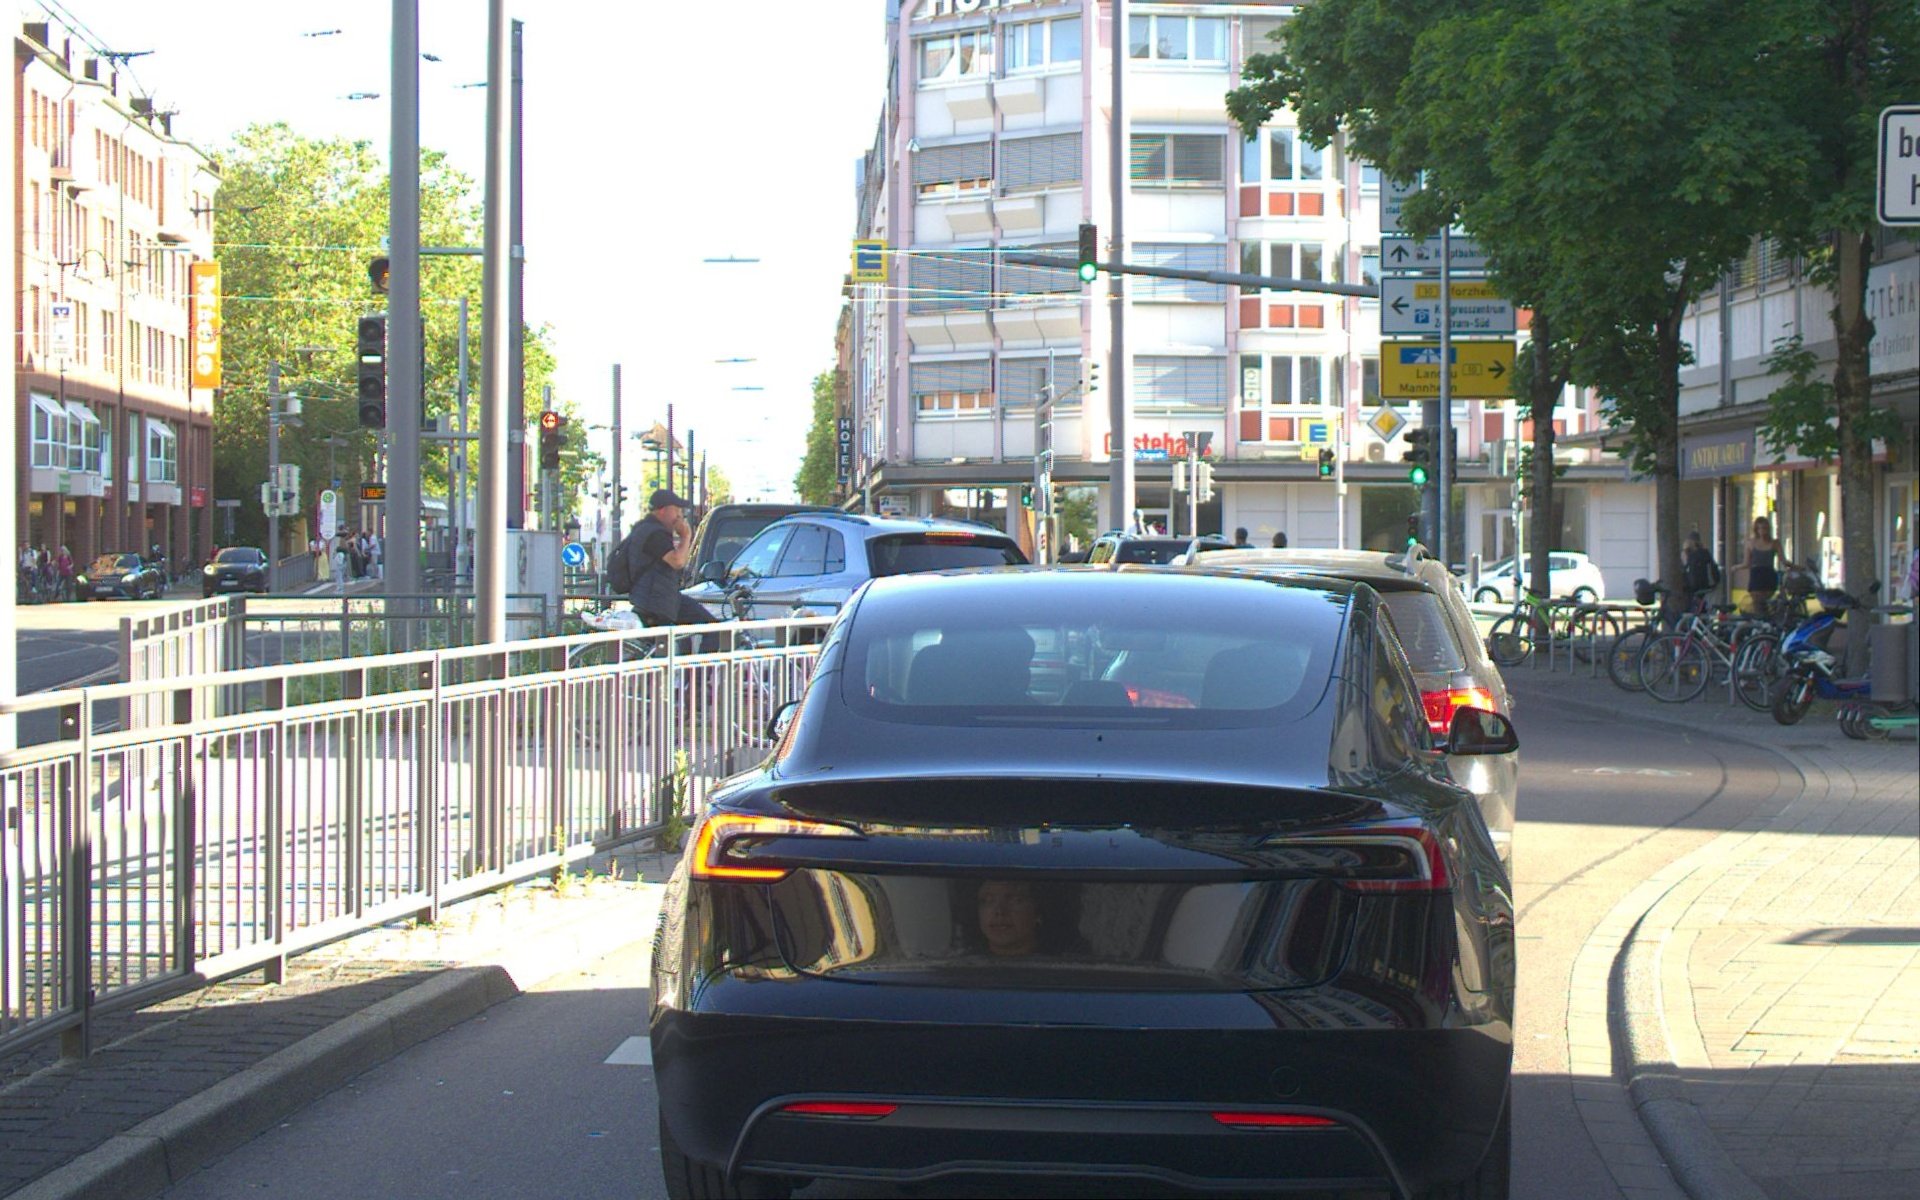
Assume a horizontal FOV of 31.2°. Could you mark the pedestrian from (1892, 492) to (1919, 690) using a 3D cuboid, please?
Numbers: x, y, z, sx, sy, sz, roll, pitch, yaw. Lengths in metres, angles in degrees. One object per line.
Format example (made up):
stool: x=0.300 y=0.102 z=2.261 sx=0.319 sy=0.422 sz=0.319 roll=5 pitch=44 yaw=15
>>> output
pedestrian: x=9.954 y=-0.094 z=35.156 sx=0.662 sy=2.007 sz=0.579 roll=1 pitch=0 yaw=2

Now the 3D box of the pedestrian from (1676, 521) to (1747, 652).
pedestrian: x=9.613 y=-0.172 z=44.003 sx=0.699 sy=1.656 sz=0.777 roll=1 pitch=0 yaw=-1

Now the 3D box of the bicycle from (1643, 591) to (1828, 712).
bicycle: x=7.185 y=0.477 z=31.869 sx=1.649 sy=1.095 sz=0.350 roll=1 pitch=0 yaw=-10

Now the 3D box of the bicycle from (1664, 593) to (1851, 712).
bicycle: x=7.290 y=0.479 z=31.445 sx=1.649 sy=1.057 sz=0.350 roll=1 pitch=0 yaw=-10

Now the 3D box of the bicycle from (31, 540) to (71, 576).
bicycle: x=-27.298 y=-1.254 z=103.251 sx=0.529 sy=1.085 sz=2.284 roll=0 pitch=1 yaw=1

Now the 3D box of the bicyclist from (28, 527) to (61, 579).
bicyclist: x=-27.319 y=-1.403 z=102.592 sx=0.784 sy=1.558 sz=0.746 roll=0 pitch=1 yaw=2

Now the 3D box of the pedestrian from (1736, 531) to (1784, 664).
pedestrian: x=10.303 y=-0.031 z=44.294 sx=0.526 sy=1.704 sz=0.403 roll=1 pitch=0 yaw=5

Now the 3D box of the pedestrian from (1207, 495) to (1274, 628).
pedestrian: x=4.306 y=-0.594 z=52.850 sx=0.921 sy=2.007 sz=0.972 roll=1 pitch=0 yaw=-1

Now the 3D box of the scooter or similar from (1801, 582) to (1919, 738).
scooter or similar: x=7.561 y=0.473 z=27.185 sx=1.644 sy=1.211 sz=0.644 roll=1 pitch=0 yaw=30

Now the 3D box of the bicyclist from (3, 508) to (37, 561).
bicyclist: x=-27.461 y=-1.918 z=100.429 sx=0.784 sy=1.558 sz=0.746 roll=0 pitch=1 yaw=2

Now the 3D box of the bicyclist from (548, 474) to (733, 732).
bicyclist: x=-2.067 y=0.012 z=22.221 sx=0.758 sy=1.623 sz=0.978 roll=0 pitch=1 yaw=-39

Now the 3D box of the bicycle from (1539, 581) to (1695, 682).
bicycle: x=7.314 y=0.343 z=38.297 sx=1.650 sy=1.095 sz=0.350 roll=1 pitch=0 yaw=1

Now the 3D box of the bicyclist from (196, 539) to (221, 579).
bicyclist: x=-29.350 y=-1.609 z=134.237 sx=0.784 sy=1.558 sz=0.746 roll=1 pitch=0 yaw=2

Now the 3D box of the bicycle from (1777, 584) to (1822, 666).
bicycle: x=10.757 y=0.314 z=44.045 sx=0.332 sy=1.030 sz=1.256 roll=1 pitch=0 yaw=4

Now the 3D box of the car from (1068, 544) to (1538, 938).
car: x=1.496 y=0.497 z=14.994 sx=1.751 sy=1.449 sz=3.999 roll=1 pitch=1 yaw=6

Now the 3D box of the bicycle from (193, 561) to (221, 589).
bicycle: x=-29.363 y=-0.972 z=134.077 sx=0.529 sy=1.085 sz=2.224 roll=1 pitch=1 yaw=1

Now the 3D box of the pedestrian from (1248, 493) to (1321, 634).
pedestrian: x=4.683 y=-0.524 z=49.618 sx=0.921 sy=2.007 sz=0.972 roll=1 pitch=0 yaw=-1

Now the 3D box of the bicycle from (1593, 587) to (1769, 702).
bicycle: x=7.004 y=0.434 z=33.396 sx=1.649 sy=1.095 sz=0.350 roll=1 pitch=0 yaw=-10

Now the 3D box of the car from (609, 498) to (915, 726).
car: x=-1.943 y=0.077 z=32.524 sx=1.993 sy=2.007 sz=4.001 roll=0 pitch=1 yaw=-17

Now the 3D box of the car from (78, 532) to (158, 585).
car: x=-25.151 y=-1.240 z=102.813 sx=1.710 sy=1.521 sz=4.037 roll=1 pitch=1 yaw=-5

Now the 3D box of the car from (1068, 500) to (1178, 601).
car: x=2.903 y=-0.878 z=61.858 sx=1.719 sy=1.745 sz=3.754 roll=1 pitch=1 yaw=-1

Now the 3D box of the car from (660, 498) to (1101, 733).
car: x=-0.710 y=0.085 z=26.527 sx=1.883 sy=1.656 sz=4.159 roll=1 pitch=1 yaw=-25

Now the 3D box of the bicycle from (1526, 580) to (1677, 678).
bicycle: x=7.334 y=0.329 z=39.323 sx=1.650 sy=1.095 sz=0.350 roll=1 pitch=0 yaw=1

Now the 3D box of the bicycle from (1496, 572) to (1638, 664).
bicycle: x=7.304 y=0.212 z=41.382 sx=1.650 sy=1.095 sz=0.350 roll=0 pitch=1 yaw=1

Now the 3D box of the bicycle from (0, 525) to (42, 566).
bicycle: x=-27.415 y=-1.576 z=100.367 sx=0.529 sy=1.085 sz=2.284 roll=4 pitch=-1 yaw=1

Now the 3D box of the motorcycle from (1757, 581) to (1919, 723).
motorcycle: x=7.717 y=0.444 z=29.260 sx=1.707 sy=1.169 sz=0.541 roll=1 pitch=0 yaw=-2

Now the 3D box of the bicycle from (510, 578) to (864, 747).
bicycle: x=-1.763 y=0.397 z=22.468 sx=2.329 sy=1.050 sz=0.631 roll=0 pitch=1 yaw=-38

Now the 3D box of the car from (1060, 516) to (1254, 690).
car: x=2.081 y=0.011 z=37.259 sx=1.598 sy=1.772 sz=3.981 roll=1 pitch=1 yaw=-4

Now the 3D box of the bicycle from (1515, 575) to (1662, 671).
bicycle: x=7.367 y=0.269 z=40.336 sx=1.650 sy=1.095 sz=0.350 roll=1 pitch=0 yaw=1

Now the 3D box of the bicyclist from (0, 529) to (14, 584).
bicyclist: x=-27.426 y=-1.241 z=97.891 sx=0.784 sy=1.558 sz=0.746 roll=1 pitch=0 yaw=0

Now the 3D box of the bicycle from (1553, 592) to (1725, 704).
bicycle: x=6.783 y=0.479 z=34.344 sx=1.649 sy=1.095 sz=0.350 roll=1 pitch=0 yaw=-10

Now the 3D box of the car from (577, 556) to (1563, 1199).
car: x=0.347 y=0.638 z=8.424 sx=1.829 sy=1.450 sz=3.999 roll=1 pitch=1 yaw=4

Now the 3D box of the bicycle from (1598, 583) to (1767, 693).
bicycle: x=7.422 y=0.390 z=35.344 sx=1.650 sy=1.095 sz=0.350 roll=1 pitch=0 yaw=1

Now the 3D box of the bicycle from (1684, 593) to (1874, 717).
bicycle: x=7.387 y=0.497 z=31.023 sx=1.649 sy=1.095 sz=0.350 roll=1 pitch=0 yaw=-10

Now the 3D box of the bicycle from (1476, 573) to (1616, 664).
bicycle: x=7.236 y=0.221 z=42.476 sx=1.650 sy=1.095 sz=0.350 roll=1 pitch=0 yaw=1

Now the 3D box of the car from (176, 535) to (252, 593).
car: x=-22.989 y=-1.108 z=106.010 sx=1.697 sy=1.725 sz=3.707 roll=1 pitch=1 yaw=-3

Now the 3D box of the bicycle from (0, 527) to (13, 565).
bicycle: x=-27.373 y=-1.529 z=97.293 sx=0.537 sy=1.085 sz=2.225 roll=1 pitch=1 yaw=-1
